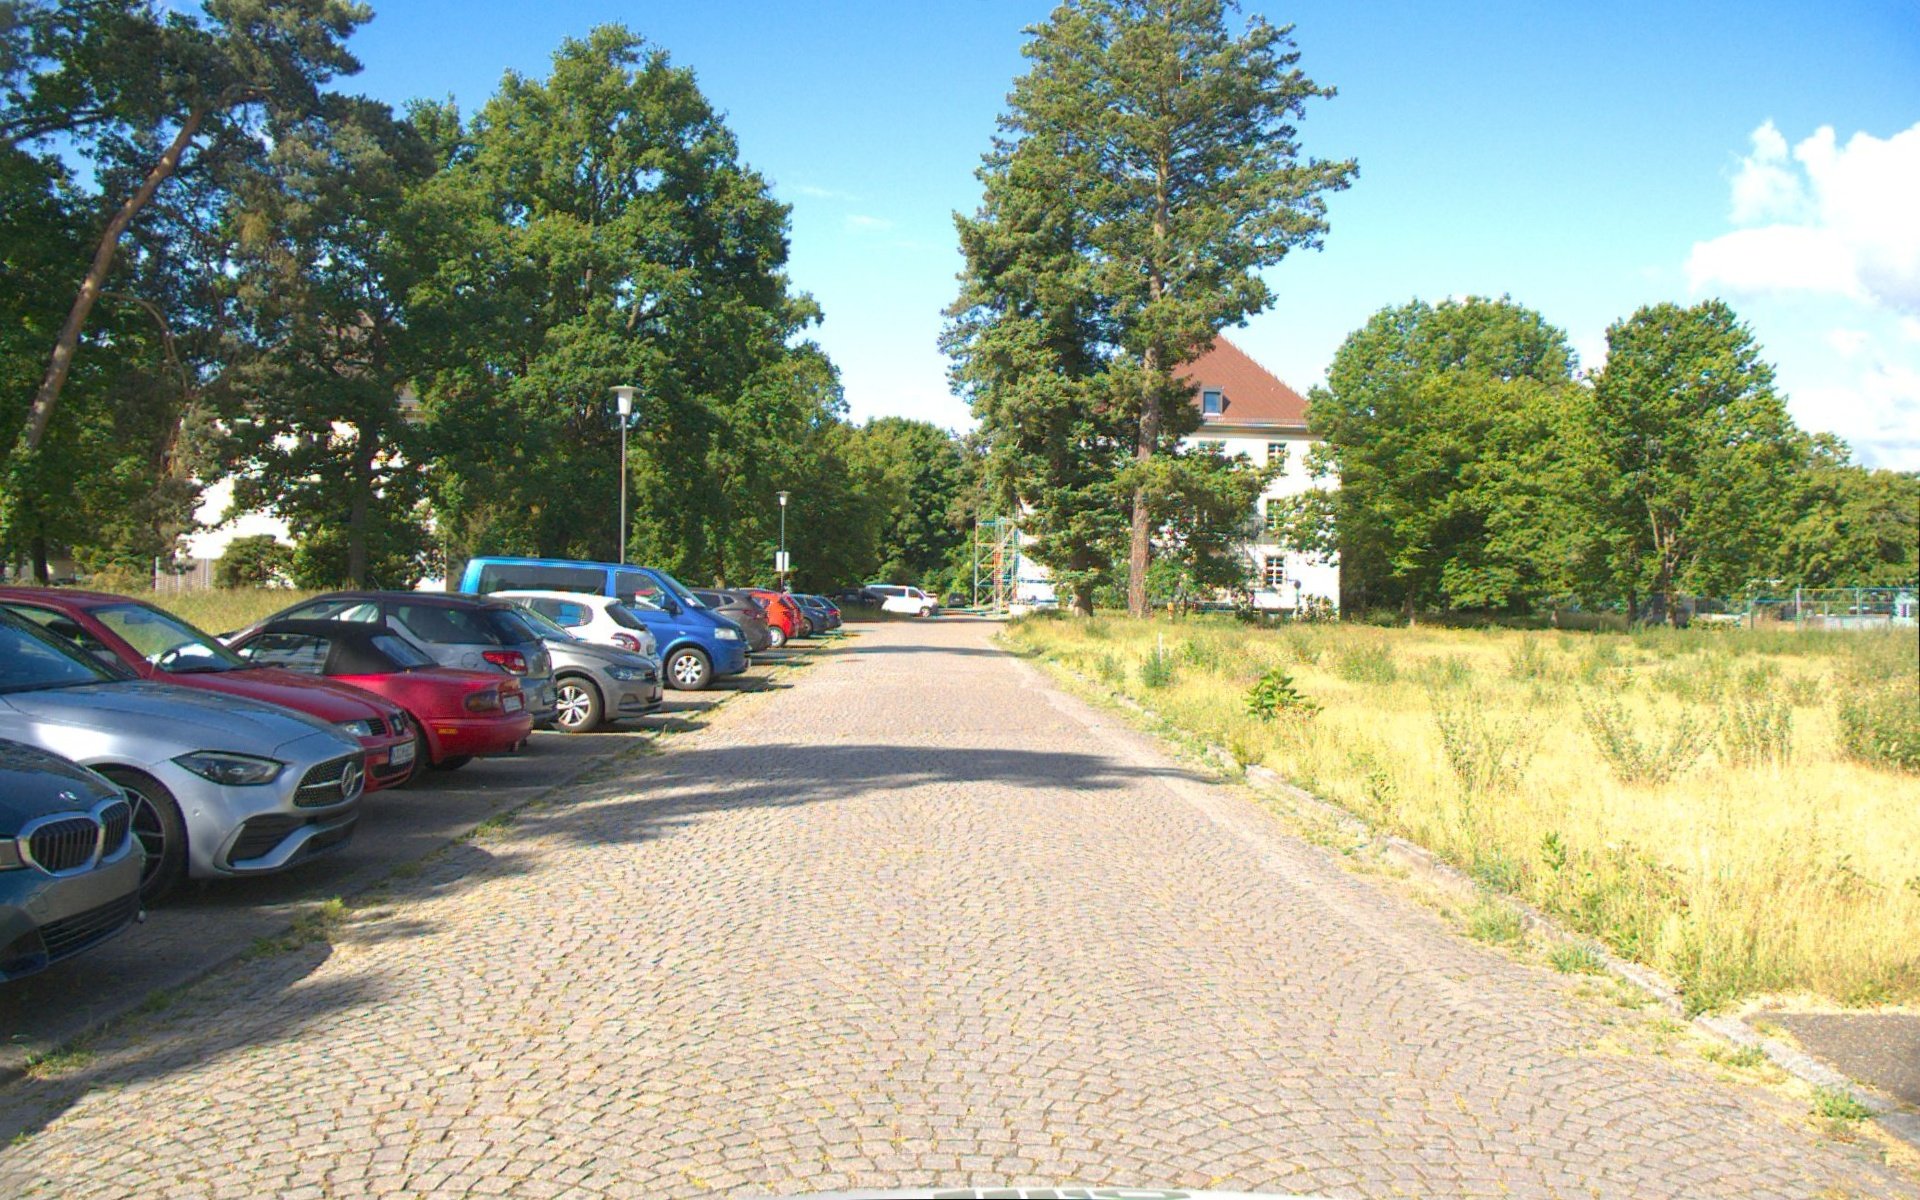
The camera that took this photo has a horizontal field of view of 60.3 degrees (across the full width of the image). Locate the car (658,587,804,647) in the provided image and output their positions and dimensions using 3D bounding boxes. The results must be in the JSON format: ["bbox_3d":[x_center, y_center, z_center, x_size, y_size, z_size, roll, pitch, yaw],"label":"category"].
[{"bbox_3d":[-6.362,0.460,46.259,3.845,1.486,1.841,2,0,-3],"label":"car"}]

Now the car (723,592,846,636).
[{"bbox_3d":[-6.453,0.505,61.224,4.269,1.470,1.921,2,0,1],"label":"car"}]

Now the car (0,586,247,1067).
[{"bbox_3d":[-5.252,0.624,5.915,4.492,1.477,1.982,2,-1,-5],"label":"car"}]

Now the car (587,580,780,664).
[{"bbox_3d":[-5.946,0.453,35.944,3.875,1.595,1.973,3,1,-3],"label":"car"}]

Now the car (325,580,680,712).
[{"bbox_3d":[-5.902,0.573,21.710,4.111,1.501,1.823,2,0,-2],"label":"car"}]

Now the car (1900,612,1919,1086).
[{"bbox_3d":[4.895,0.731,4.518,3.666,1.502,1.751,-2,0,-3],"label":"car"}]

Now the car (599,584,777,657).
[{"bbox_3d":[-6.302,0.461,38.664,3.845,1.474,1.866,3,0,-3],"label":"car"}]

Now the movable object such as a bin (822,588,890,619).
[{"bbox_3d":[-6.091,0.179,97.026,3.490,1.775,2.026,1,0,17],"label":"movable object such as a bin"}]

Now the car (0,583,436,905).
[{"bbox_3d":[-5.455,0.617,8.630,4.766,1.446,1.938,2,-1,-1],"label":"car"}]

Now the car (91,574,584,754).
[{"bbox_3d":[-5.860,0.595,15.943,3.994,1.477,1.821,2,-1,-1],"label":"car"}]

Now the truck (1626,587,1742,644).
[{"bbox_3d":[34.186,0.703,78.380,2.188,2.466,6.883,2,0,-2],"label":"truck"}]

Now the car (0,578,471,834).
[{"bbox_3d":[-5.939,0.601,10.958,4.766,1.445,1.938,2,0,-1],"label":"car"}]

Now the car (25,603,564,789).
[{"bbox_3d":[-5.199,0.735,13.293,3.556,1.256,1.759,2,-1,-1],"label":"car"}]

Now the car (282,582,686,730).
[{"bbox_3d":[-5.302,0.601,18.846,3.994,1.450,1.923,2,0,-1],"label":"car"}]

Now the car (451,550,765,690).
[{"bbox_3d":[-5.645,0.319,27.004,4.622,2.002,2.005,3,0,-2],"label":"car"}]

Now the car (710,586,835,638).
[{"bbox_3d":[-6.385,0.400,56.543,4.051,1.607,1.884,2,0,-2],"label":"car"}]

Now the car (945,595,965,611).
[{"bbox_3d":[-0.531,0.299,176.612,1.931,1.697,4.084,1,0,-2],"label":"car"}]

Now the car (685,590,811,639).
[{"bbox_3d":[-6.898,0.466,54.131,3.843,1.458,1.842,2,0,0],"label":"car"}]

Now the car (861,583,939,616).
[{"bbox_3d":[-4.006,-0.054,110.188,5.129,2.051,1.949,1,0,-2],"label":"car"}]

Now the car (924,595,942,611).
[{"bbox_3d":[-2.879,0.322,176.241,1.775,1.607,4.133,1,0,-2],"label":"car"}]
